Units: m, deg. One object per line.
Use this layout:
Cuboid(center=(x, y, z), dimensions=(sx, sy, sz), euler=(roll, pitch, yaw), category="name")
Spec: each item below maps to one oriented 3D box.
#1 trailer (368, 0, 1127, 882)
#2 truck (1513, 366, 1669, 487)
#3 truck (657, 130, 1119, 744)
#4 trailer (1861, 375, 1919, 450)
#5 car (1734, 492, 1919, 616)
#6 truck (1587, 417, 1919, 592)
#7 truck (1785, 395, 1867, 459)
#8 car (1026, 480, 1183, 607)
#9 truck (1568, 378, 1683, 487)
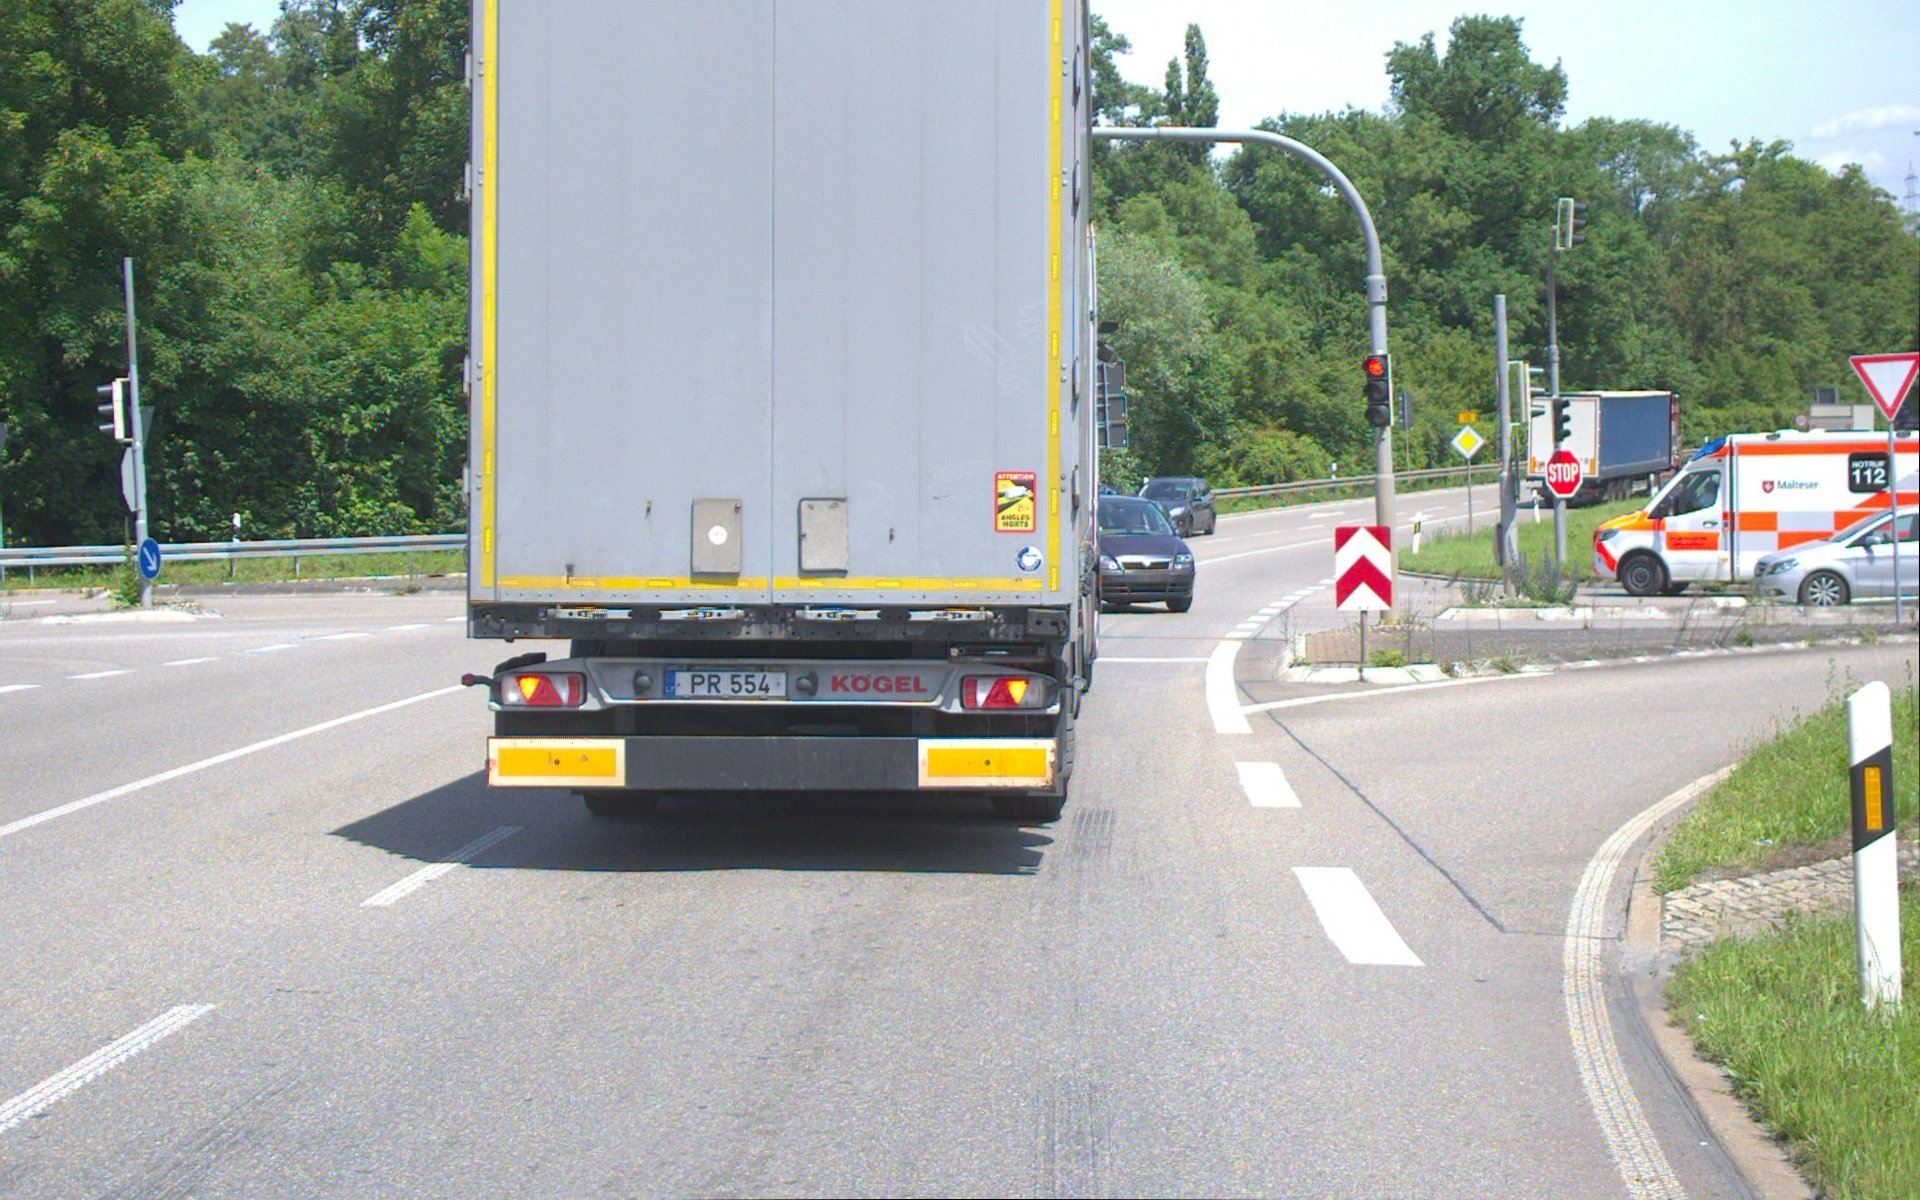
Cuboid(center=(-0.576, -0.993, 20.056), dimensions=(3.052, 4.020, 12.558), euler=(0, 1, 3), category="trailer")
Cuboid(center=(22.994, -6.205, 124.653), dimensions=(3.183, 4.015, 11.732), euler=(1, 1, 22), category="truck")
Cuboid(center=(-0.330, -1.122, 25.903), dimensions=(3.038, 4.020, 6.629), euler=(0, 1, 3), category="truck")
Cuboid(center=(50.280, -9.927, 182.913), dimensions=(3.255, 3.673, 9.240), euler=(1, 2, 22), category="trailer")
Cuboid(center=(13.643, -0.642, 49.965), dimensions=(4.429, 1.712, 1.999), euler=(1, 0, 6), category="car")
Cuboid(center=(13.546, -1.534, 56.139), dimensions=(6.020, 2.718, 2.498), euler=(1, -1, 27), category="truck")
Cuboid(center=(42.413, -8.416, 168.231), dimensions=(2.859, 2.938, 7.096), euler=(1, 2, 22), category="truck")
Cuboid(center=(2.126, -0.806, 52.005), dimensions=(1.993, 1.779, 4.942), euler=(1, 0, -2), category="car")
Cuboid(center=(25.214, -6.308, 130.107), dimensions=(3.172, 3.990, 5.809), euler=(1, 2, 22), category="truck")
